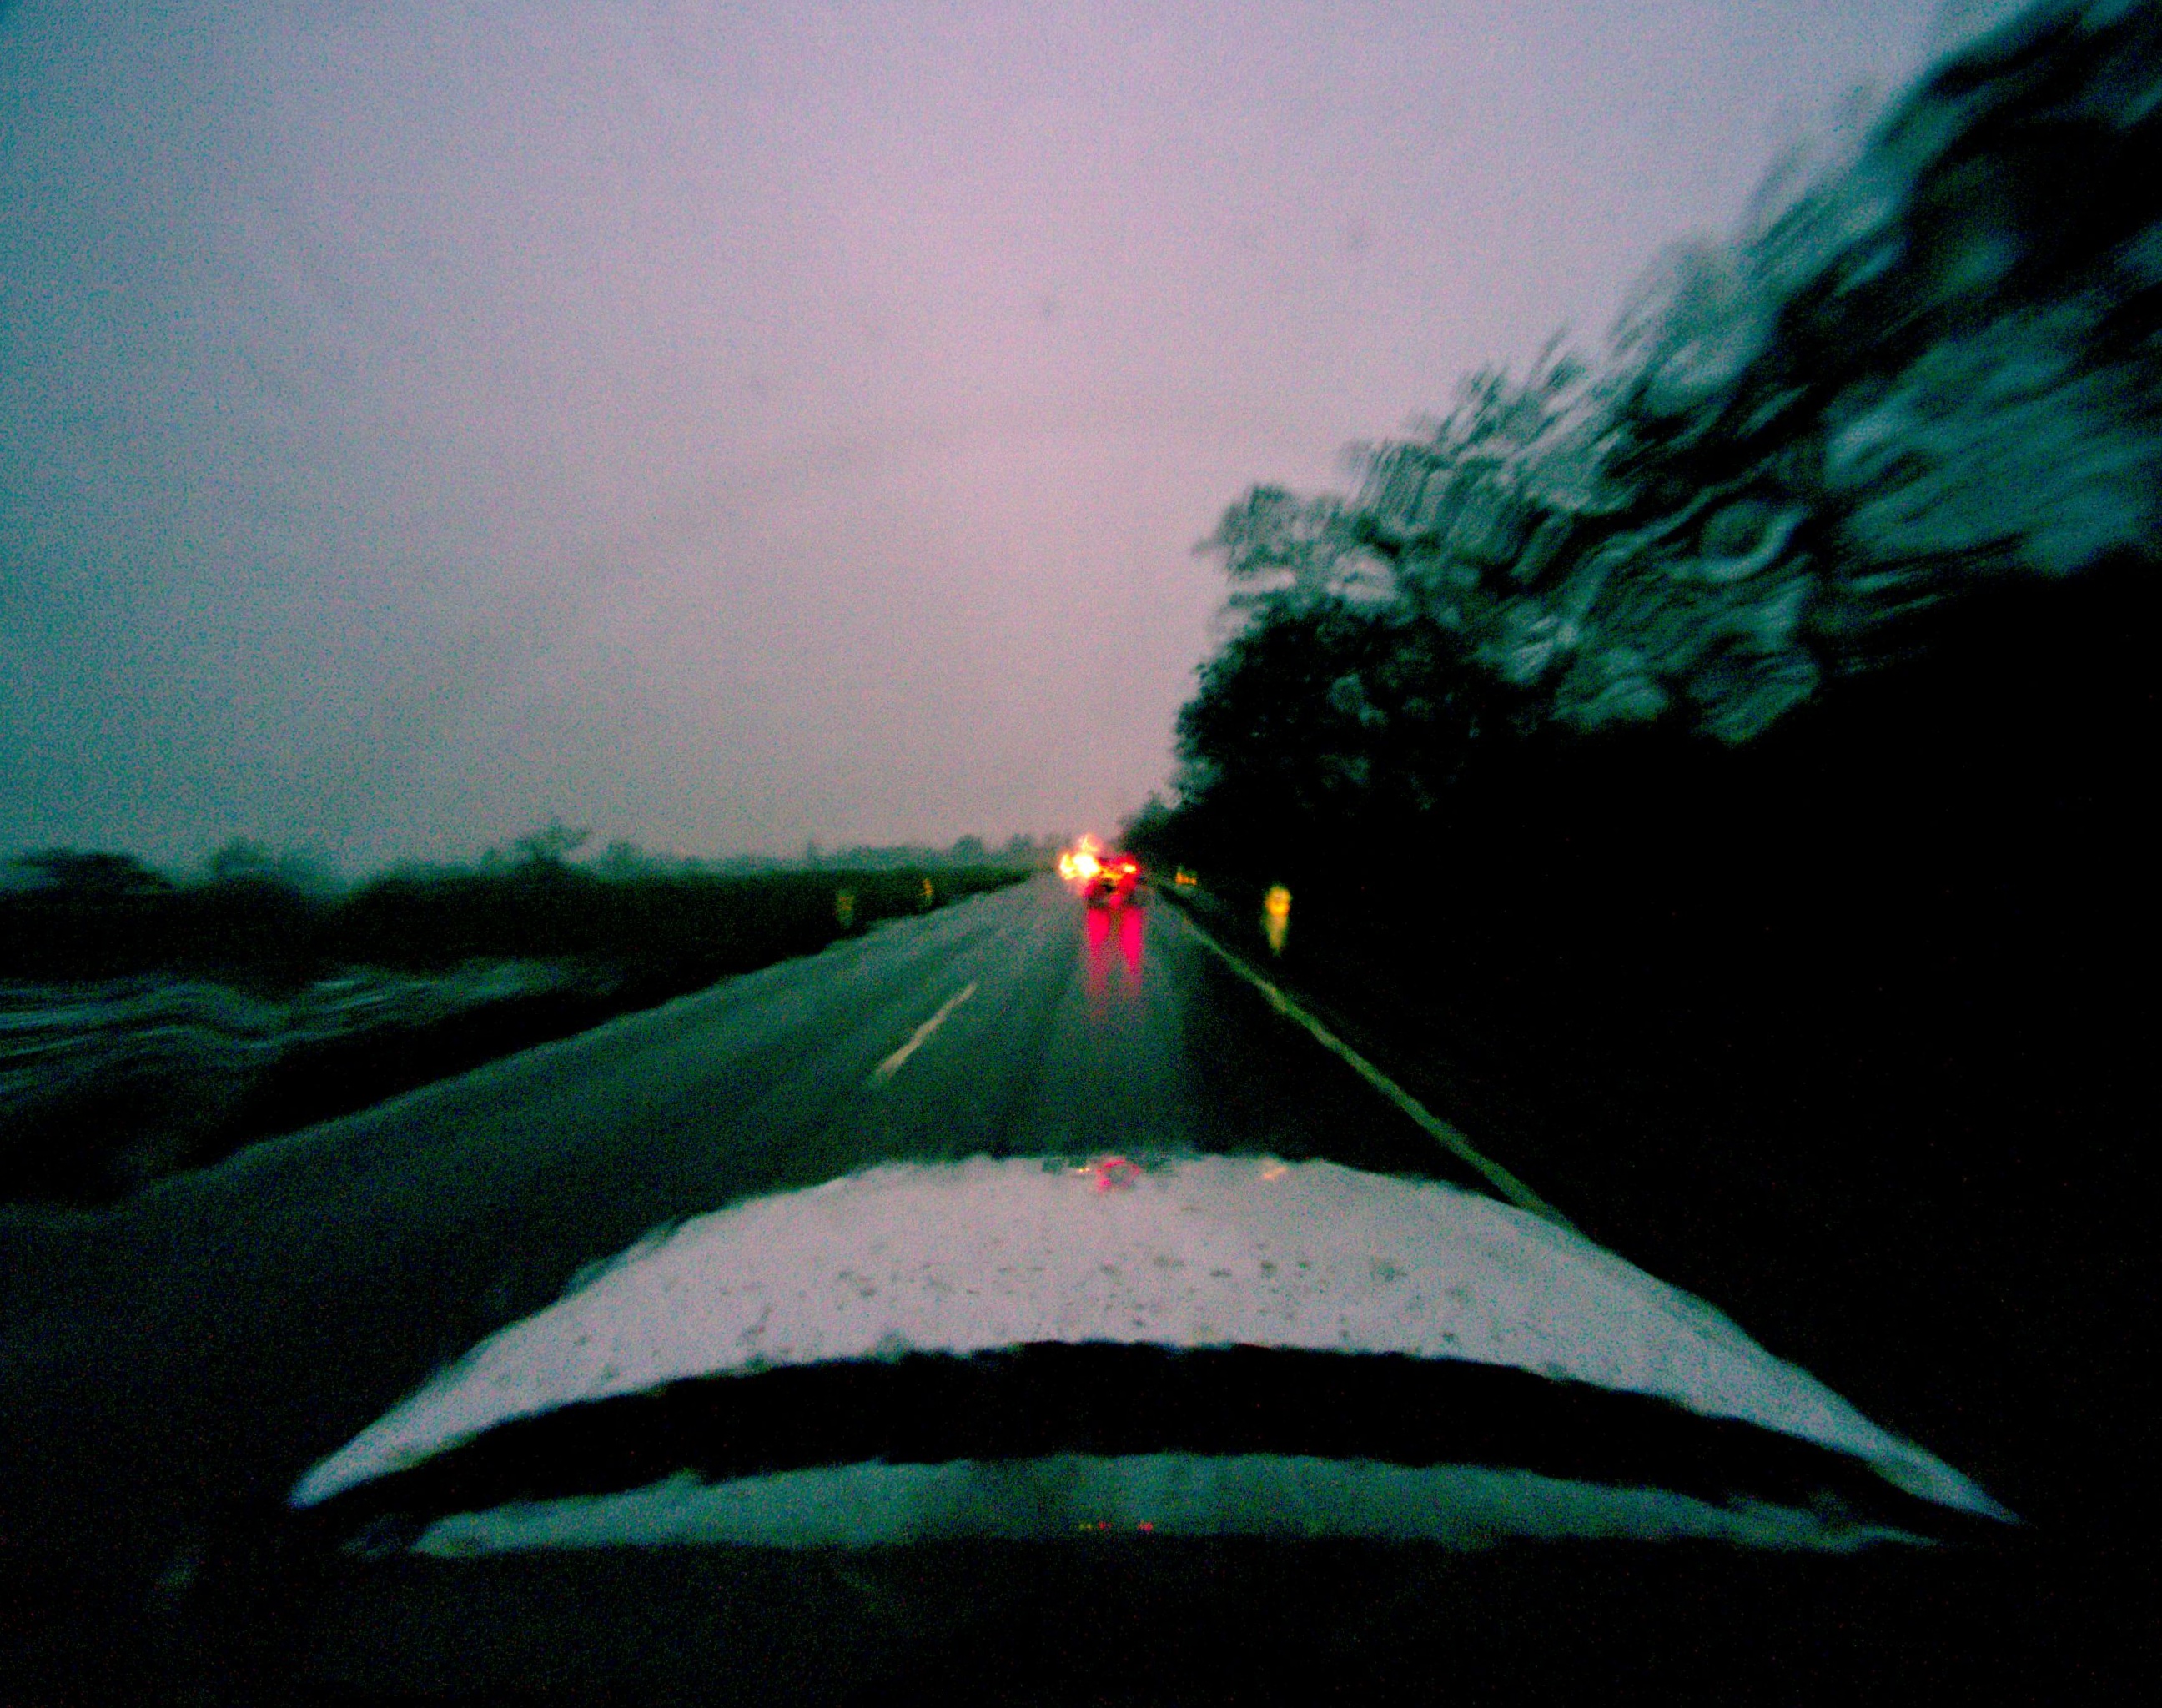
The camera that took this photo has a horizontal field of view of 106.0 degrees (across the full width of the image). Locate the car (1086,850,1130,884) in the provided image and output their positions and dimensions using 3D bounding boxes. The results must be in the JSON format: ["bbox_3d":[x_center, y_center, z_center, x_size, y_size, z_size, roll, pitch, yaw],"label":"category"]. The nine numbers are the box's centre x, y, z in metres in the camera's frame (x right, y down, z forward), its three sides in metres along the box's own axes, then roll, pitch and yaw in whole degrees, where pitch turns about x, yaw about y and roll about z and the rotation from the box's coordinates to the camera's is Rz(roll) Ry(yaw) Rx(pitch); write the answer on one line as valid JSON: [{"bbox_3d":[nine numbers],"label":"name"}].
[{"bbox_3d":[1.694,0.776,50.455,2.582,2.014,5.807,0,0,2],"label":"car"}]

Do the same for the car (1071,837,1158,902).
[{"bbox_3d":[1.198,0.521,29.249,2.809,2.077,5.807,0,0,2],"label":"car"}]
